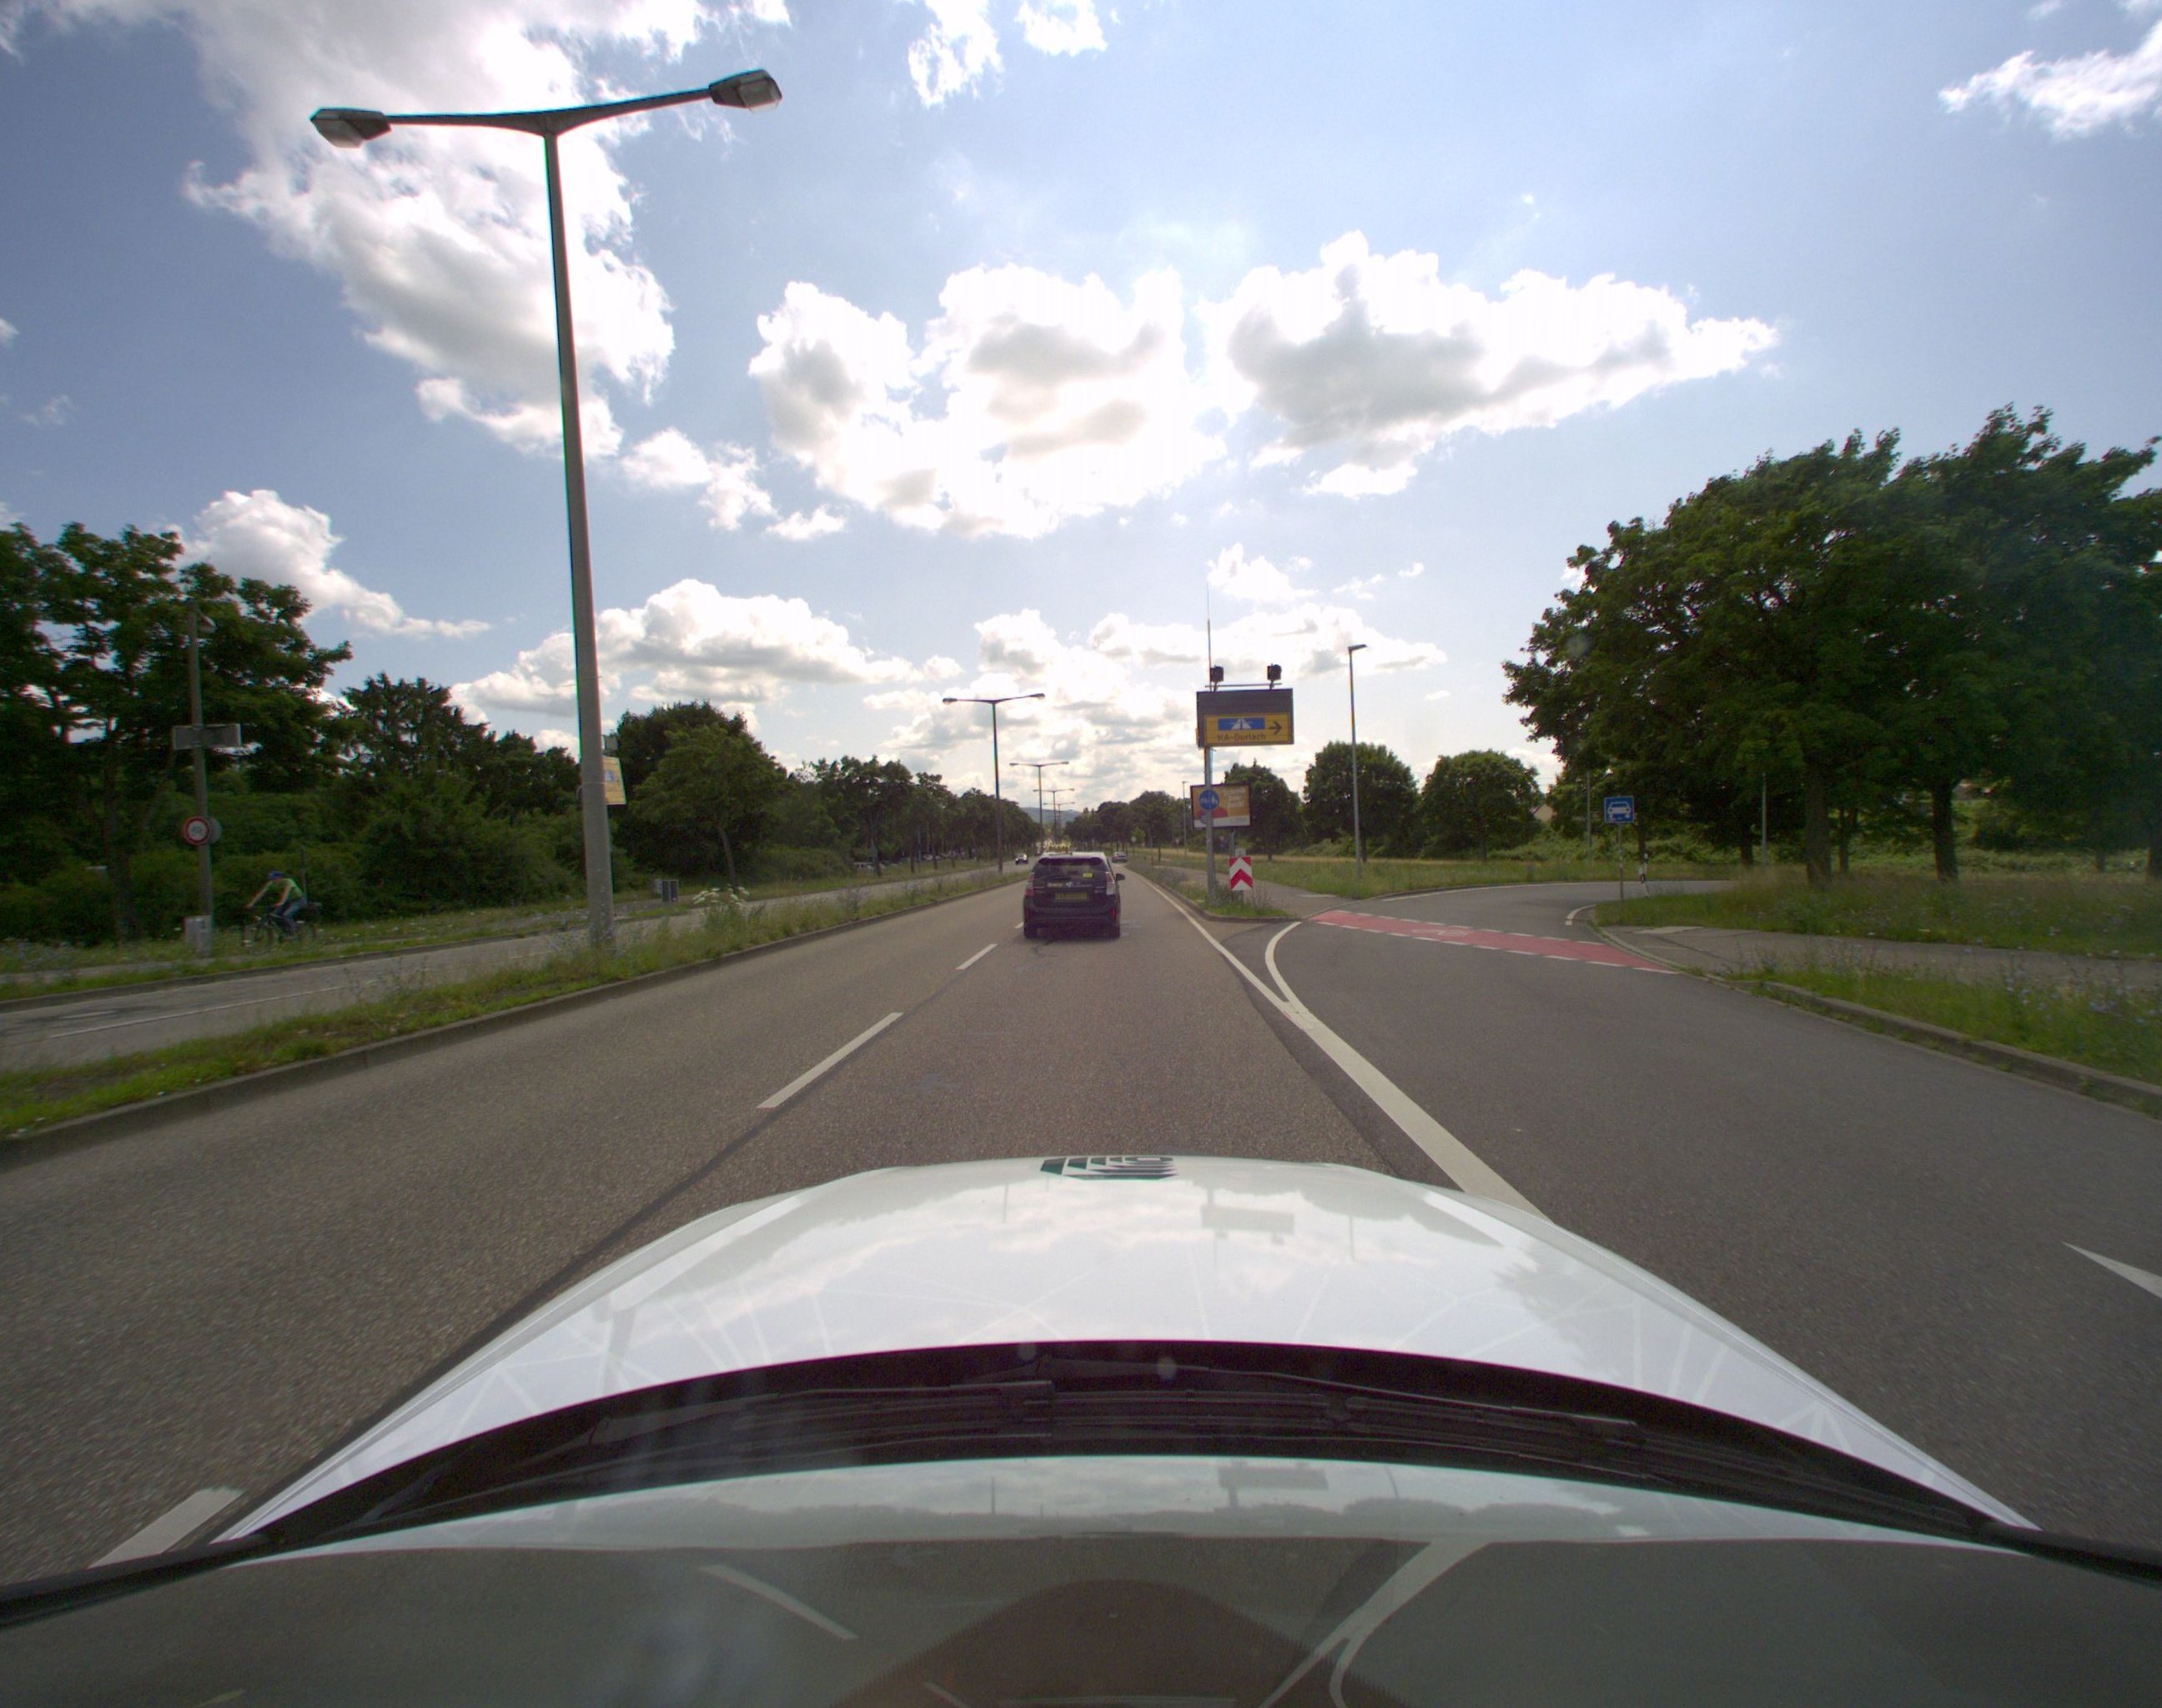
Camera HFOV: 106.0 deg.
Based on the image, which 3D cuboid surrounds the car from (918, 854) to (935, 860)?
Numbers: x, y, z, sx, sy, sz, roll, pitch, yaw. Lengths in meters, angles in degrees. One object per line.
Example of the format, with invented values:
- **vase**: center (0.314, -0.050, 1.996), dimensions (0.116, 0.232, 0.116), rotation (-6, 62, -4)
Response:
- **car**: center (-37.832, 0.835, 199.502), dimensions (3.770, 1.387, 1.787), rotation (-1, 1, 2)

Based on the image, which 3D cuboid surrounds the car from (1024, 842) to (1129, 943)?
- **car**: center (-0.110, 0.624, 15.863), dimensions (1.774, 1.683, 3.999), rotation (-1, 1, -1)

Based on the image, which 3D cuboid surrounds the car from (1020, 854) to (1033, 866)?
- **car**: center (-9.131, 1.012, 137.048), dimensions (1.871, 1.790, 4.727), rotation (-4, 0, 0)

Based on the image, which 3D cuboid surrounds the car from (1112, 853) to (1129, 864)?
- **car**: center (6.048, 0.703, 124.977), dimensions (1.990, 1.508, 3.994), rotation (-1, 1, -5)

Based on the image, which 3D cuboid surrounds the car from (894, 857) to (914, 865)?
- **car**: center (-37.383, 1.496, 172.155), dimensions (3.775, 1.428, 1.784), rotation (-1, 1, -2)

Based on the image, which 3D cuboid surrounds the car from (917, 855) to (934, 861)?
- **car**: center (-37.288, 0.973, 195.126), dimensions (3.770, 1.387, 1.787), rotation (-1, 1, 2)

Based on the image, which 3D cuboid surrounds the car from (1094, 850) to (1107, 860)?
- **car**: center (3.267, 0.124, 137.097), dimensions (1.987, 1.661, 3.999), rotation (-1, 1, -1)

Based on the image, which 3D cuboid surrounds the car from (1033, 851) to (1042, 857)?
- **car**: center (-11.215, -0.002, 209.091), dimensions (1.701, 1.427, 3.662), rotation (-2, 0, -10)

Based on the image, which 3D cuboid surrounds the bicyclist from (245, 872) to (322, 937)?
- **bicyclist**: center (-16.873, 1.048, 17.262), dimensions (0.519, 1.272, 1.107), rotation (-1, 1, -1)

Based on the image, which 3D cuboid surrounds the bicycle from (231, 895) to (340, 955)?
- **bicycle**: center (-16.875, 1.477, 17.338), dimensions (0.430, 1.068, 1.907), rotation (-1, 1, -1)
